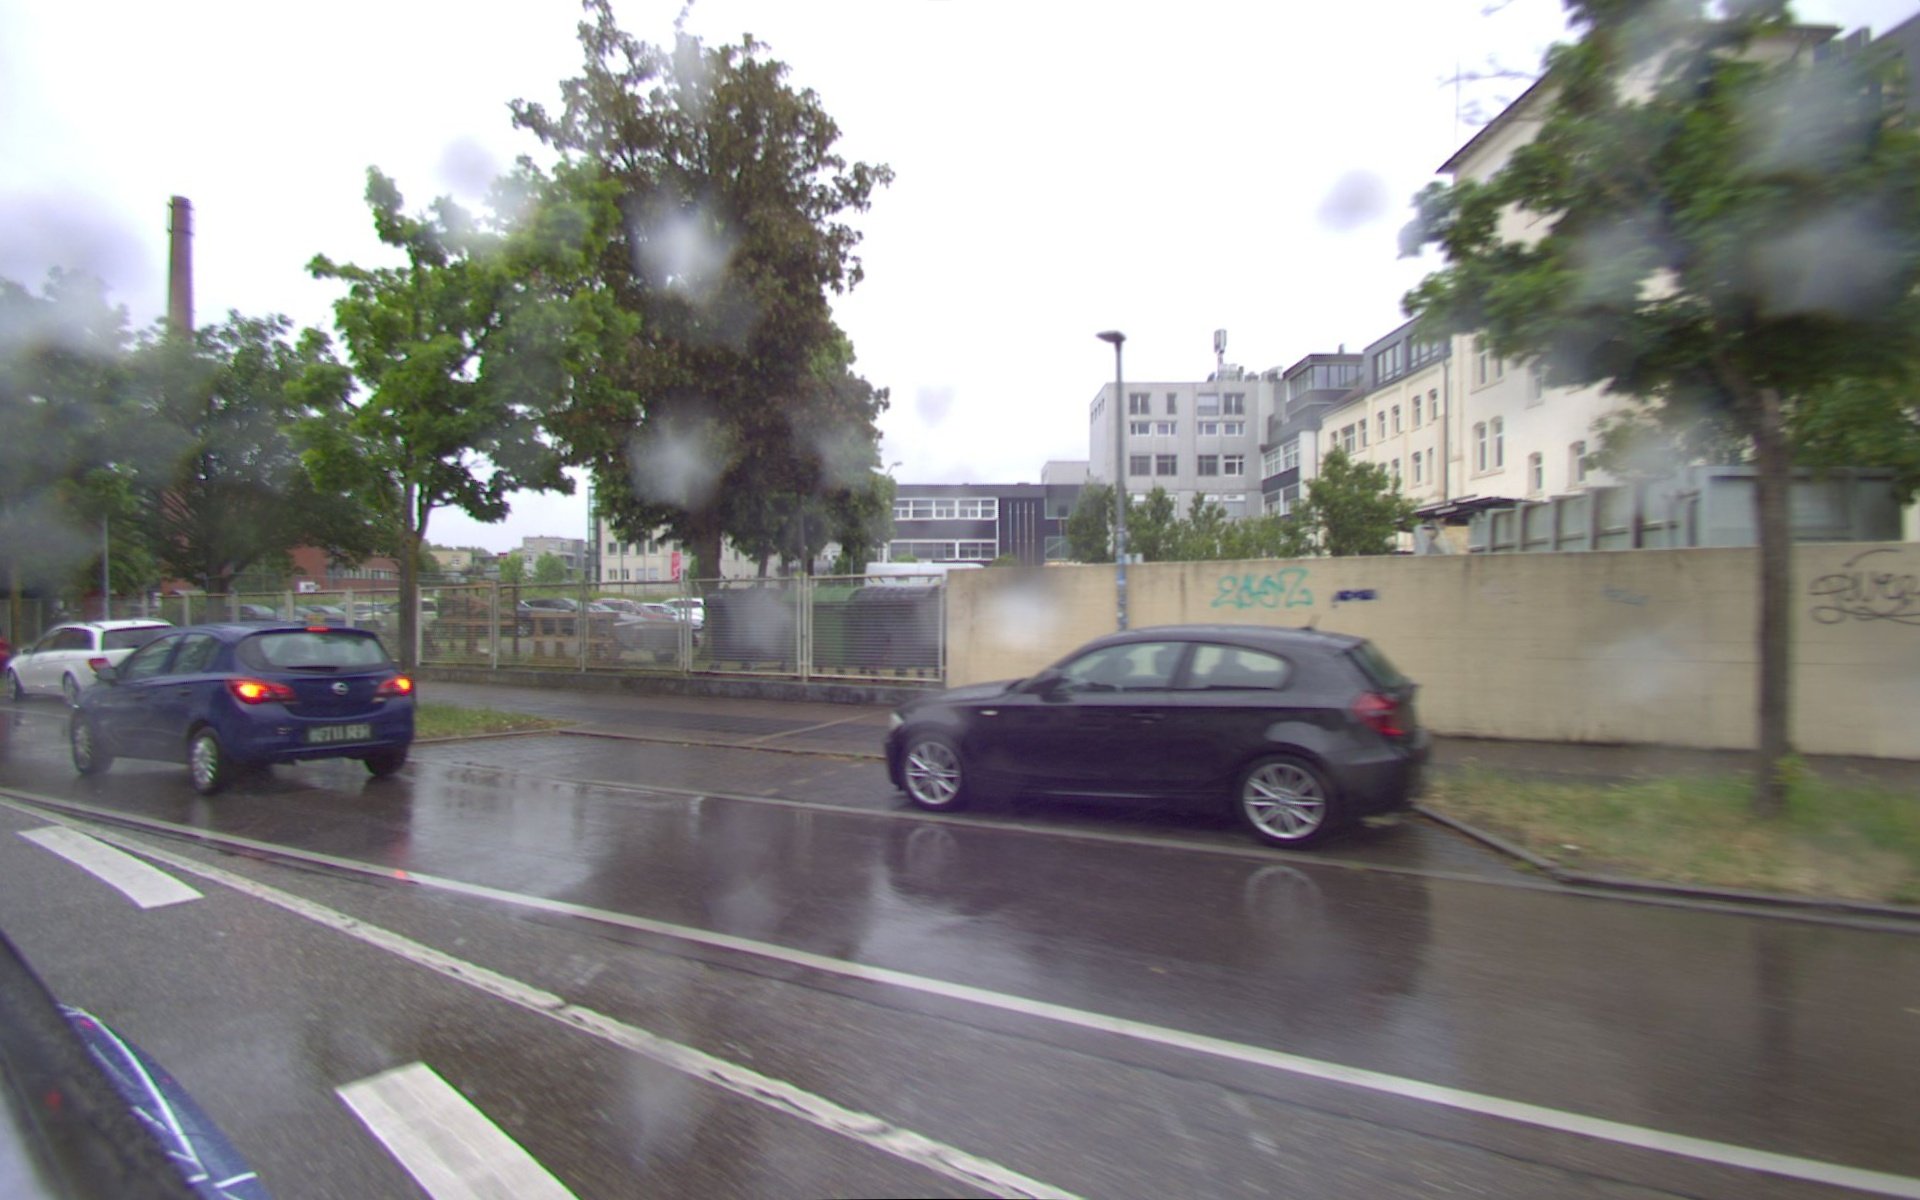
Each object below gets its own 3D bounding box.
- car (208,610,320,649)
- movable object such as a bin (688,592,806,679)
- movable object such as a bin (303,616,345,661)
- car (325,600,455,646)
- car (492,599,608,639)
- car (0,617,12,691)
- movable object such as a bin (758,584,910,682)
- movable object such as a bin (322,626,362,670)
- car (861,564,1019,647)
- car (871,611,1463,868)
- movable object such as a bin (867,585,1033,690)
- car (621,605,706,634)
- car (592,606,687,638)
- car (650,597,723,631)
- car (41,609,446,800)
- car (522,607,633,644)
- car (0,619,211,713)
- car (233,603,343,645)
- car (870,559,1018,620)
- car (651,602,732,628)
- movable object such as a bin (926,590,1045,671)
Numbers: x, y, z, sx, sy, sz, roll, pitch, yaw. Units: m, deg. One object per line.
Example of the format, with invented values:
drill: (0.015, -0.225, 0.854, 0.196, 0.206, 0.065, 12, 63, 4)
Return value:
car: (-31.866, 1.354, 46.396, 3.943, 1.683, 1.772, -1, 0, -1)
movable object such as a bin: (-3.537, 0.555, 16.907, 1.258, 1.378, 1.480, 0, 0, 32)
movable object such as a bin: (-14.408, 0.855, 22.918, 0.711, 0.993, 0.542, 0, 0, 32)
car: (-22.335, 0.879, 39.758, 3.943, 1.683, 2.067, -1, 0, -1)
car: (-16.298, 0.736, 40.337, 3.948, 1.506, 1.758, -1, 0, 4)
car: (-22.942, 1.192, 22.506, 3.781, 1.610, 1.614, 0, 0, 28)
movable object such as a bin: (-1.987, 0.482, 16.034, 1.825, 1.452, 1.548, 0, 0, 32)
movable object such as a bin: (-13.752, 1.059, 22.514, 0.636, 0.956, 0.534, 0, 0, 32)
car: (-0.578, 0.168, 30.909, 4.656, 2.414, 2.149, -1, 0, 2)
car: (1.480, 0.833, 7.672, 4.081, 1.456, 1.684, 0, 1, 31)
movable object such as a bin: (-0.119, 0.510, 15.090, 1.750, 1.435, 1.896, 0, 0, 32)
car: (-15.700, 1.002, 53.733, 3.947, 1.463, 1.998, -1, 0, 3)
car: (-15.400, 1.028, 48.766, 3.947, 1.463, 1.998, -1, 0, 3)
car: (-16.600, 0.832, 61.578, 3.944, 2.029, 2.000, -1, 0, 1)
car: (-6.959, 0.874, 9.767, 3.931, 1.512, 1.694, 0, -3, 30)
car: (-16.181, 1.068, 42.914, 3.947, 1.463, 1.998, -1, 0, 3)
car: (-15.784, 1.107, 18.429, 4.662, 1.471, 1.762, 0, 0, 30)
car: (-32.163, 1.118, 48.524, 3.943, 1.896, 2.000, -1, 0, -1)
car: (-0.438, -0.300, 28.907, 4.091, 1.652, 1.747, -1, 0, 2)
car: (-14.884, 0.820, 56.262, 3.948, 1.362, 1.998, -1, 0, 4)
movable object such as a bin: (0.469, 0.524, 18.221, 1.783, 1.378, 1.207, 0, 0, 32)
